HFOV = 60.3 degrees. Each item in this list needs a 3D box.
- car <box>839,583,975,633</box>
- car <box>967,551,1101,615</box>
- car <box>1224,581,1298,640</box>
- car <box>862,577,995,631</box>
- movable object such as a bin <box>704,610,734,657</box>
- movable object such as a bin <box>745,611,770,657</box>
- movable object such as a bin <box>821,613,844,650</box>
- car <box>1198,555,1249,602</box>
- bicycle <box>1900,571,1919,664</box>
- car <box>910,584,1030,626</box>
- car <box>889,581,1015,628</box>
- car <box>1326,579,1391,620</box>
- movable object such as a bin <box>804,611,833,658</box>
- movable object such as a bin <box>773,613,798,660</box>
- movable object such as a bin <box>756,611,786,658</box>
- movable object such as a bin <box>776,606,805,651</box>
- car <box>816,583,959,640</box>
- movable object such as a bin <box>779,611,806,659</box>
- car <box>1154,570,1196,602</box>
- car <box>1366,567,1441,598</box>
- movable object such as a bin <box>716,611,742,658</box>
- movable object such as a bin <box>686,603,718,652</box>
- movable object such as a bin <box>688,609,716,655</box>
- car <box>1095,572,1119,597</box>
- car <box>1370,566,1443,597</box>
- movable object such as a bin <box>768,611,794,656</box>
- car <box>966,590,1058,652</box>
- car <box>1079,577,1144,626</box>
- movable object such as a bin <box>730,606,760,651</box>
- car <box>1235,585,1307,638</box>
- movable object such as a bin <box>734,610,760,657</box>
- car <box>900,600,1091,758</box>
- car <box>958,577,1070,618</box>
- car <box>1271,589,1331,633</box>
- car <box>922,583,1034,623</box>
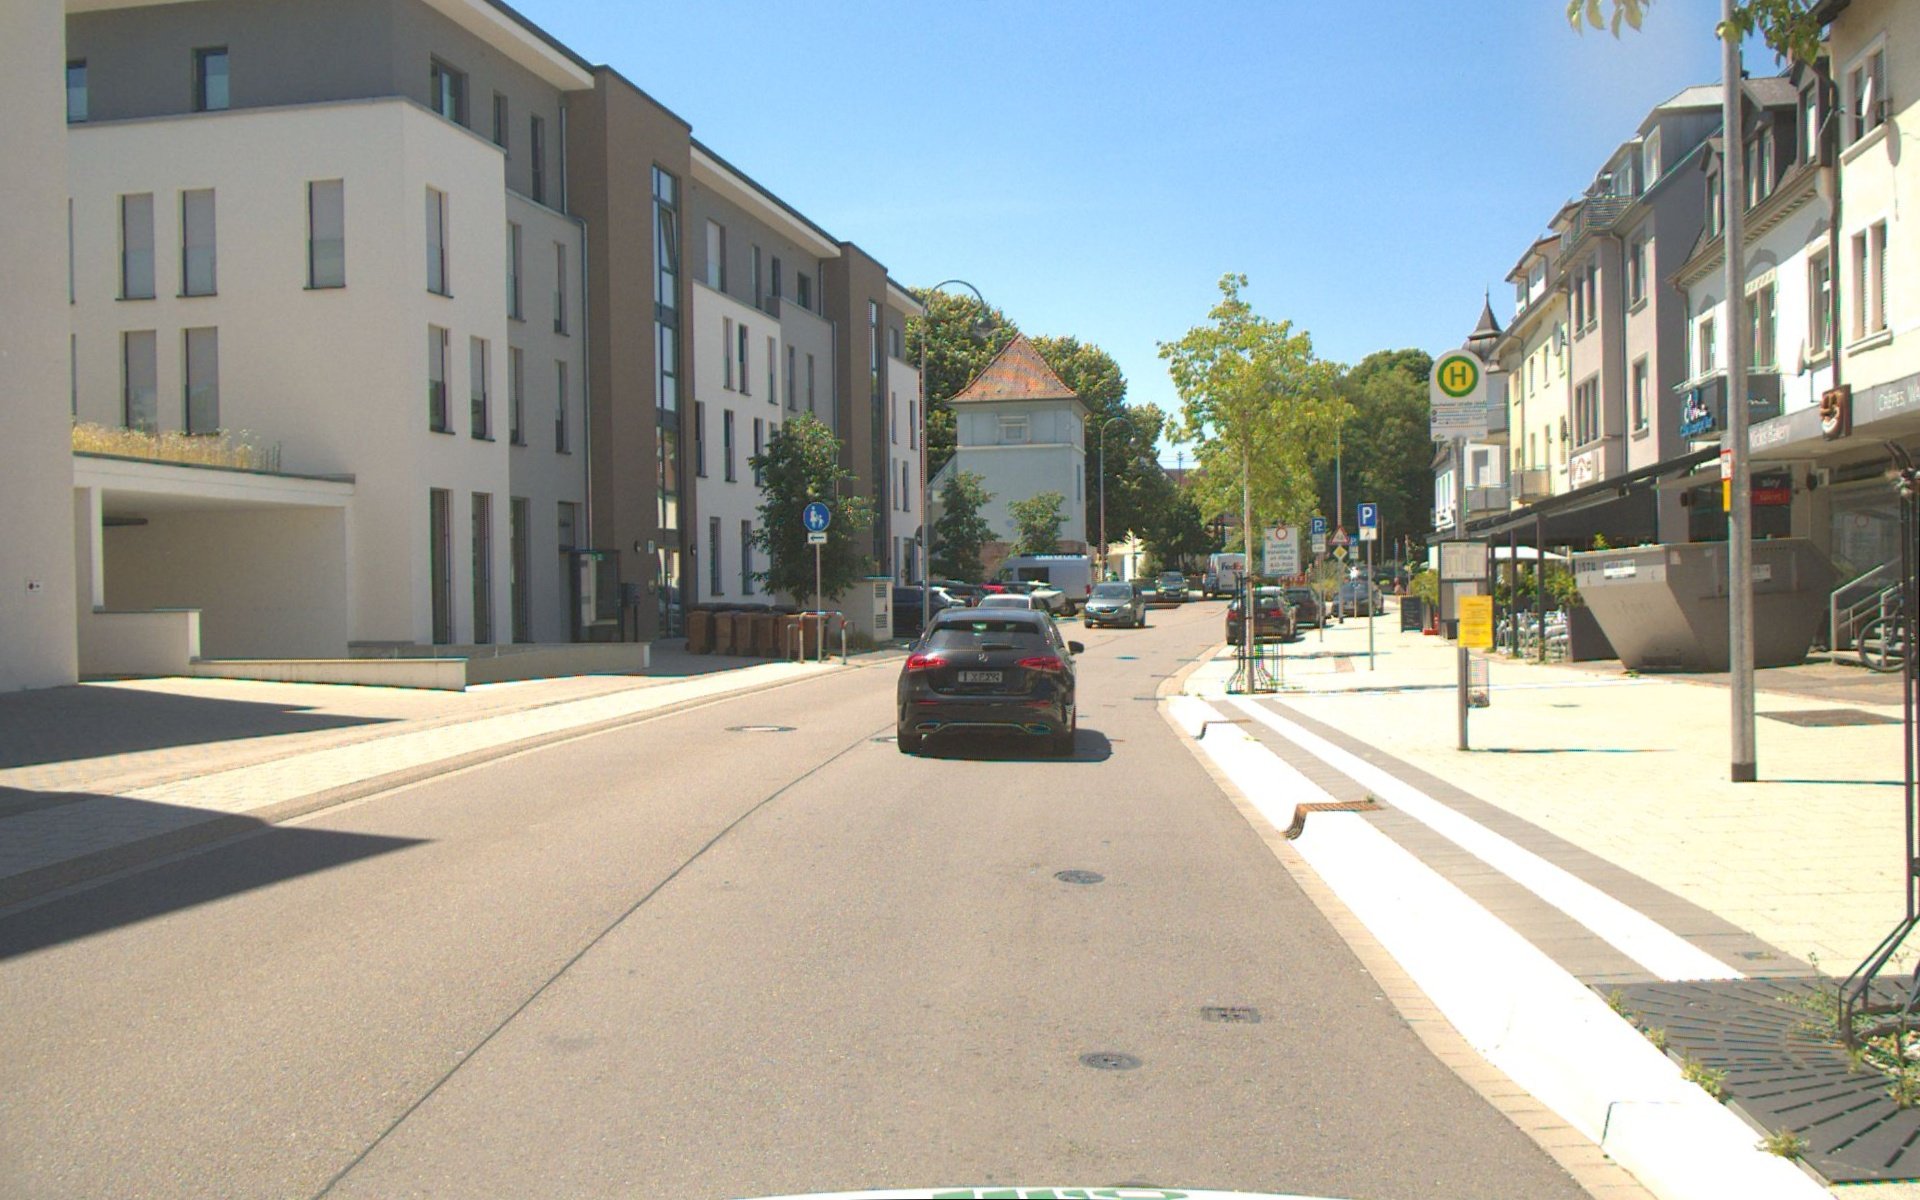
[{"bbox_3d":[-1.635,0.230,51.657,3.902,1.446,1.911,1,1,13],"label":"car"},{"bbox_3d":[3.310,-0.766,73.616,5.644,2.780,2.293,1,1,13],"label":"car"},{"bbox_3d":[8.531,0.298,46.635,1.793,1.508,4.099,-3,-1,13],"label":"car"},{"bbox_3d":[-1.015,0.126,54.103,3.946,1.680,2.002,1,1,15],"label":"car"},{"bbox_3d":[-5.276,0.736,36.185,0.472,1.015,0.527,0,0,14],"label":"movable object such as a bin"},{"bbox_3d":[-4.529,0.755,36.939,0.394,1.015,0.556,0,0,11],"label":"movable object such as a bin"},{"bbox_3d":[-3.110,0.758,40.263,0.543,0.883,0.481,-1,0,-5],"label":"movable object such as a bin"},{"bbox_3d":[15.431,-1.221,97.010,2.084,2.676,5.277,0,0,-1],"label":"car"},{"bbox_3d":[12.964,0.235,21.491,1.243,1.204,0.415,1,0,20],"label":"bicycle"},{"bbox_3d":[0.393,0.158,59.630,3.946,1.455,2.002,1,1,15],"label":"car"},{"bbox_3d":[-0.257,0.126,56.803,3.946,1.523,2.002,1,1,15],"label":"car"},{"bbox_3d":[16.715,-0.046,69.329,1.835,1.517,3.859,-2,2,26],"label":"car"},{"bbox_3d":[-3.142,0.768,36.765,0.472,1.015,0.588,0,0,11],"label":"movable object such as a bin"},{"bbox_3d":[-3.885,0.805,36.785,0.394,1.015,0.556,0,0,11],"label":"movable object such as a bin"},{"bbox_3d":[-4.153,0.752,36.368,0.472,1.015,0.588,0,0,11],"label":"movable object such as a bin"},{"bbox_3d":[-4.017,0.676,39.189,0.542,1.038,0.561,-1,0,8],"label":"movable object such as a bin"},{"bbox_3d":[-2.150,0.313,49.462,3.902,1.541,2.002,1,3,12],"label":"car"},{"bbox_3d":[-3.657,0.762,36.133,0.473,1.015,0.588,-1,0,5],"label":"movable object such as a bin"},{"bbox_3d":[11.953,-0.757,91.919,1.772,1.731,4.079,0,0,15],"label":"car"},{"bbox_3d":[25.260,-1.011,94.362,3.988,1.746,1.858,1,1,11],"label":"car"},{"bbox_3d":[-5.130,0.767,36.753,0.394,1.015,0.556,0,0,11],"label":"movable object such as a bin"},{"bbox_3d":[-5.987,0.623,38.444,0.678,1.114,0.647,-1,0,-5],"label":"movable object such as a bin"},{"bbox_3d":[-5.756,0.709,36.906,0.473,1.015,0.588,-1,0,5],"label":"movable object such as a bin"},{"bbox_3d":[12.710,-1.324,143.553,1.952,2.049,4.002,1,0,4],"label":"car"},{"bbox_3d":[25.935,-1.080,96.204,3.988,1.746,1.858,1,1,11],"label":"car"},{"bbox_3d":[-4.151,0.768,38.403,0.543,1.015,0.404,-1,0,-1],"label":"movable object such as a bin"},{"bbox_3d":[1.304,0.482,40.117,1.631,1.420,3.851,0,0,11],"label":"car"},{"bbox_3d":[5.550,0.043,60.343,1.901,1.687,4.239,0,0,12],"label":"car"},{"bbox_3d":[-5.102,0.673,39.310,0.662,1.057,0.604,-1,0,-5],"label":"movable object such as a bin"},{"bbox_3d":[9.932,0.340,52.617,1.701,1.512,4.056,-3,0,17],"label":"car"},{"bbox_3d":[-4.689,0.744,36.394,0.415,1.015,0.524,0,0,12],"label":"movable object such as a bin"},{"bbox_3d":[0.442,0.748,17.568,1.789,1.467,4.002,0,0,3],"label":"car"},{"bbox_3d":[2.253,-0.124,68.933,4.358,1.619,2.002,1,1,12],"label":"car"},{"bbox_3d":[12.151,0.362,58.811,1.688,1.430,4.612,-2,0,16],"label":"car"},{"bbox_3d":[0.709,0.114,63.682,4.110,1.462,1.887,1,1,8],"label":"car"}]
